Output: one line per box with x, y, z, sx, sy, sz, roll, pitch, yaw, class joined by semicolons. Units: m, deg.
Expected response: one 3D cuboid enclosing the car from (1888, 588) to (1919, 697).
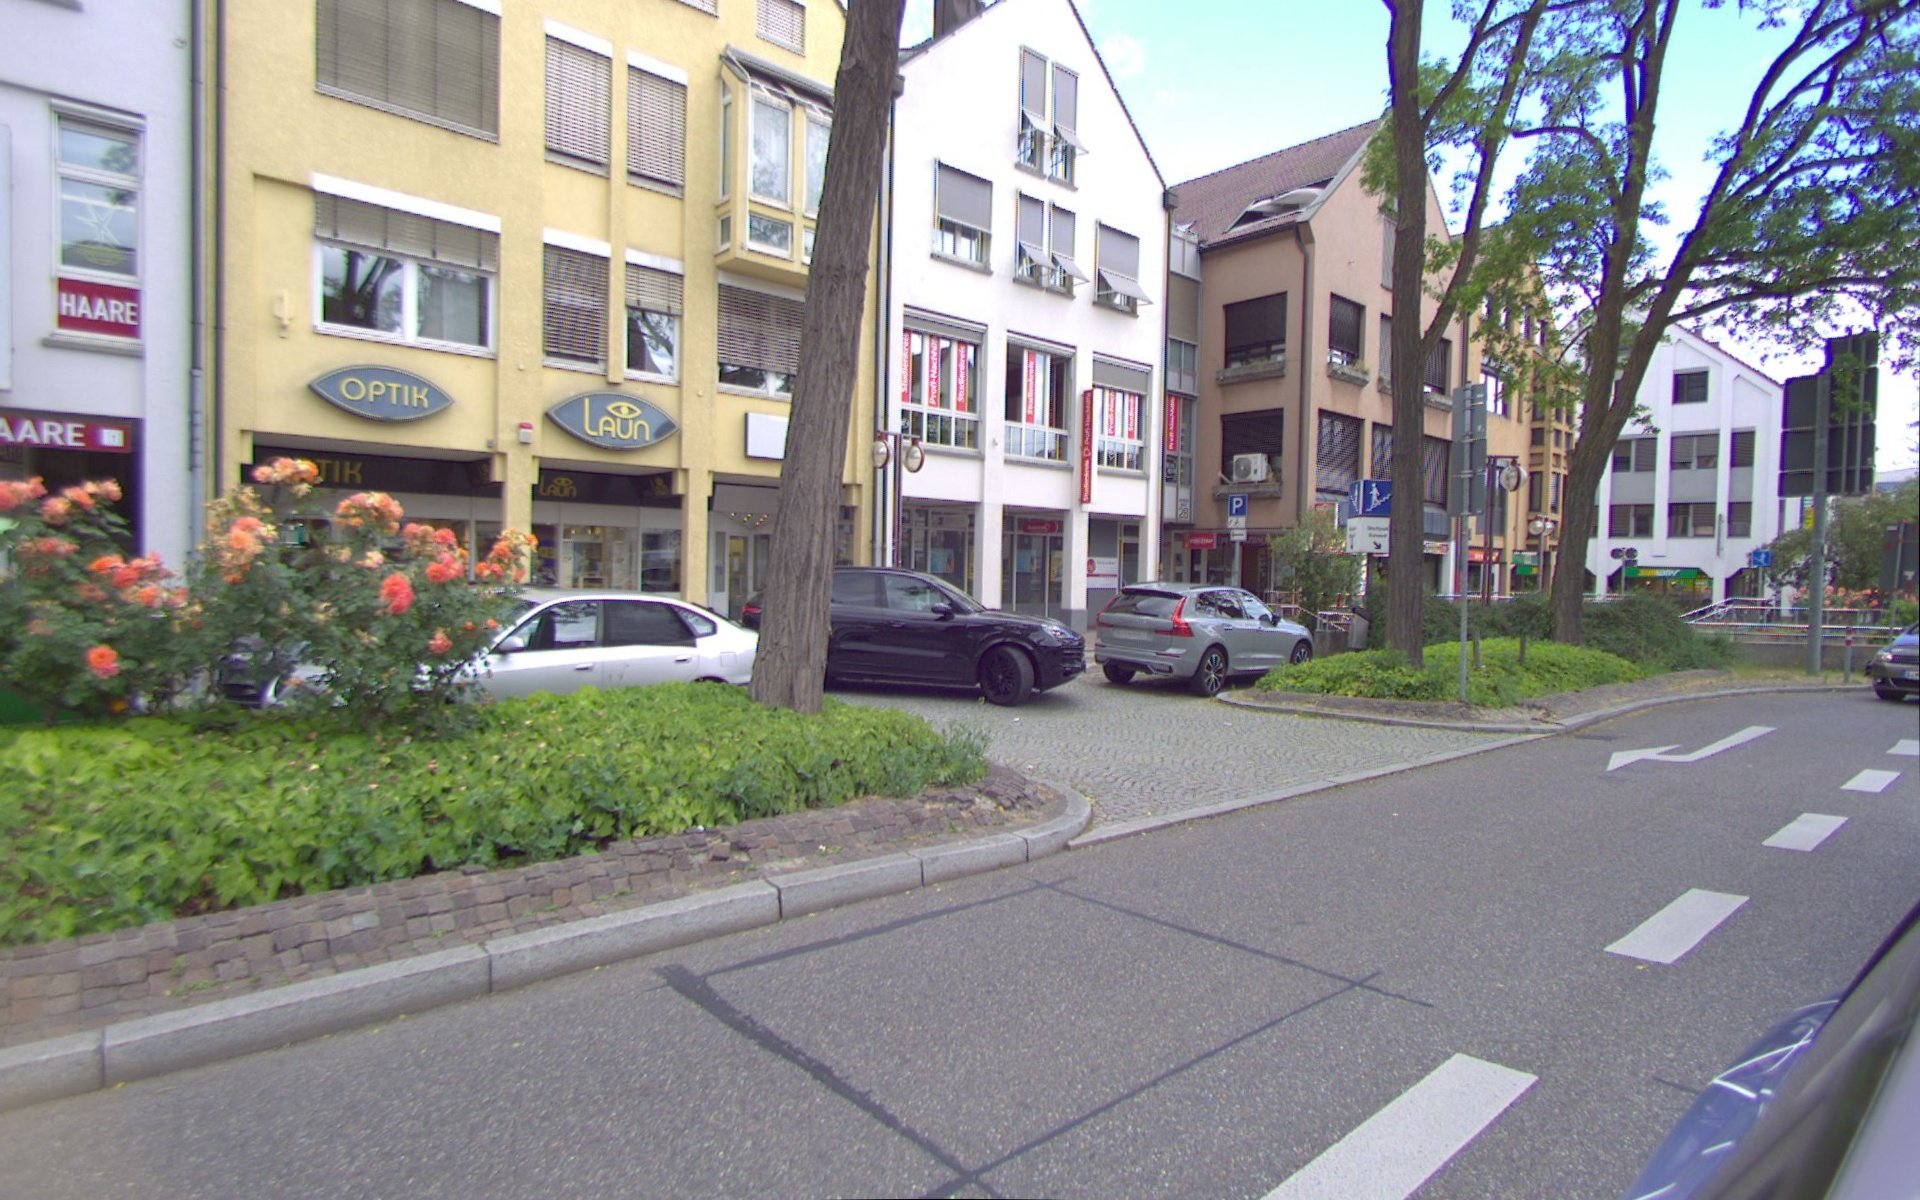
16.259;0.640;15.919;5.071;1.541;1.997;-1;3;-43;car

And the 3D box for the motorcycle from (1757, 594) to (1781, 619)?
35.187;0.269;44.029;1.961;1.081;0.464;0;1;-41;motorcycle

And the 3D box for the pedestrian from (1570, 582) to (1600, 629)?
24.909;0.207;40.345;0.772;1.846;0.869;0;0;-45;pedestrian

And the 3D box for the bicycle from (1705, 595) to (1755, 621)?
31.319;0.324;41.179;1.583;0.981;0.455;2;1;36;bicycle

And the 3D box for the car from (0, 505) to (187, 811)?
-7.551;0.315;6.036;4.528;1.899;1.883;0;3;-43;car

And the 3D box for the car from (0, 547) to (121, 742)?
-9.434;0.334;7.928;4.320;1.561;1.799;0;3;-43;car

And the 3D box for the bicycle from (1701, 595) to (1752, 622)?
30.780;0.319;40.668;1.584;1.014;0.409;2;1;37;bicycle

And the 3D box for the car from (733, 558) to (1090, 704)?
-0.592;0.354;13.943;4.581;1.690;1.857;2;2;5;car

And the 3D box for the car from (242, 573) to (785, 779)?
-3.976;0.535;9.509;4.344;1.468;1.765;0;2;-43;car

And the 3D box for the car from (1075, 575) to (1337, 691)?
4.176;0.441;16.715;4.685;1.615;1.995;0;2;-44;car

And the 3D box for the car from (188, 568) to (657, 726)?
-5.932;0.405;11.485;4.344;1.393;2.000;0;3;-43;car
